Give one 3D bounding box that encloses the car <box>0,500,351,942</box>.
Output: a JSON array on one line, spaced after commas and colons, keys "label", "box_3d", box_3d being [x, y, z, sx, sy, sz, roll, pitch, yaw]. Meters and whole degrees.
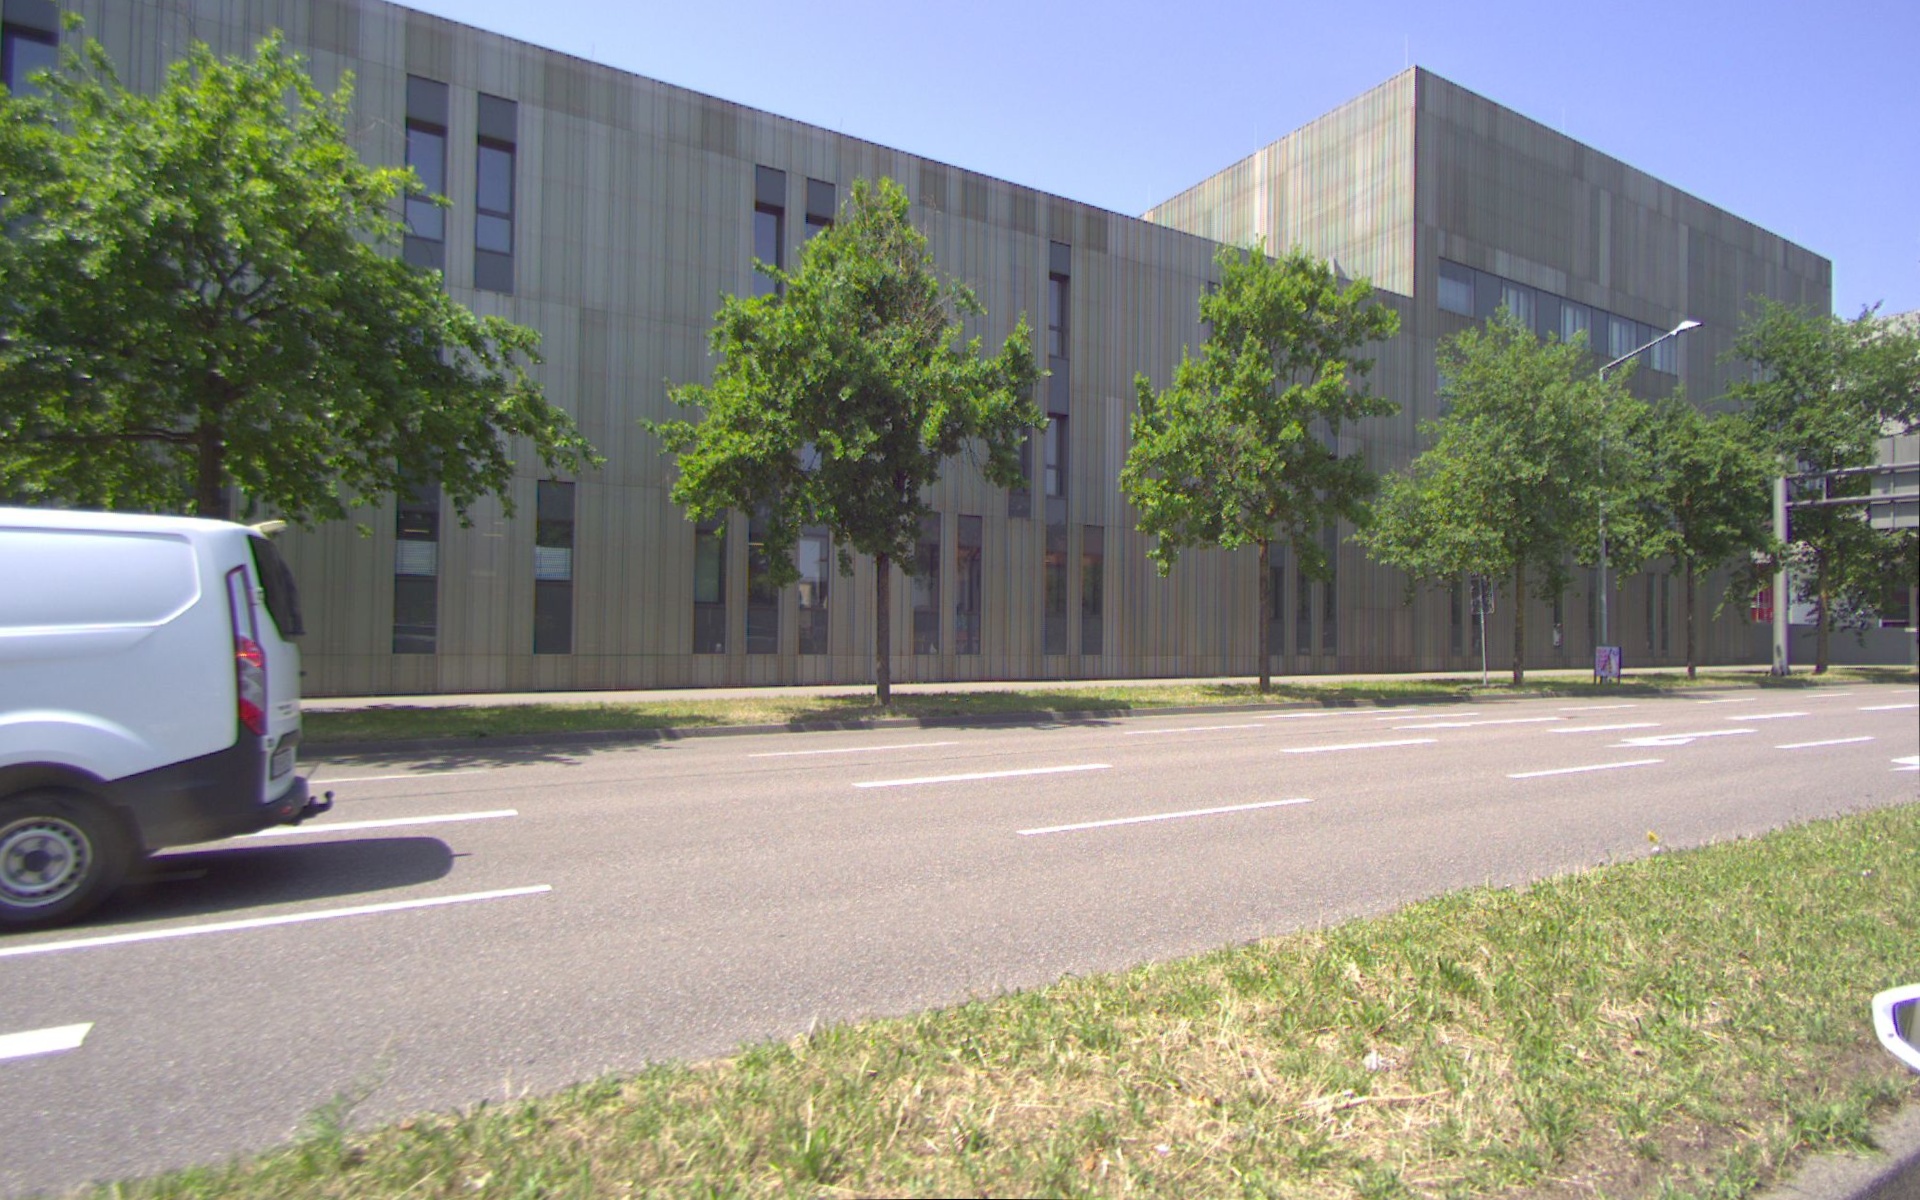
[{"label": "car", "box_3d": [-5.821, 0.563, 4.850, 4.841, 2.019, 1.900, 1, -3, -31]}]
